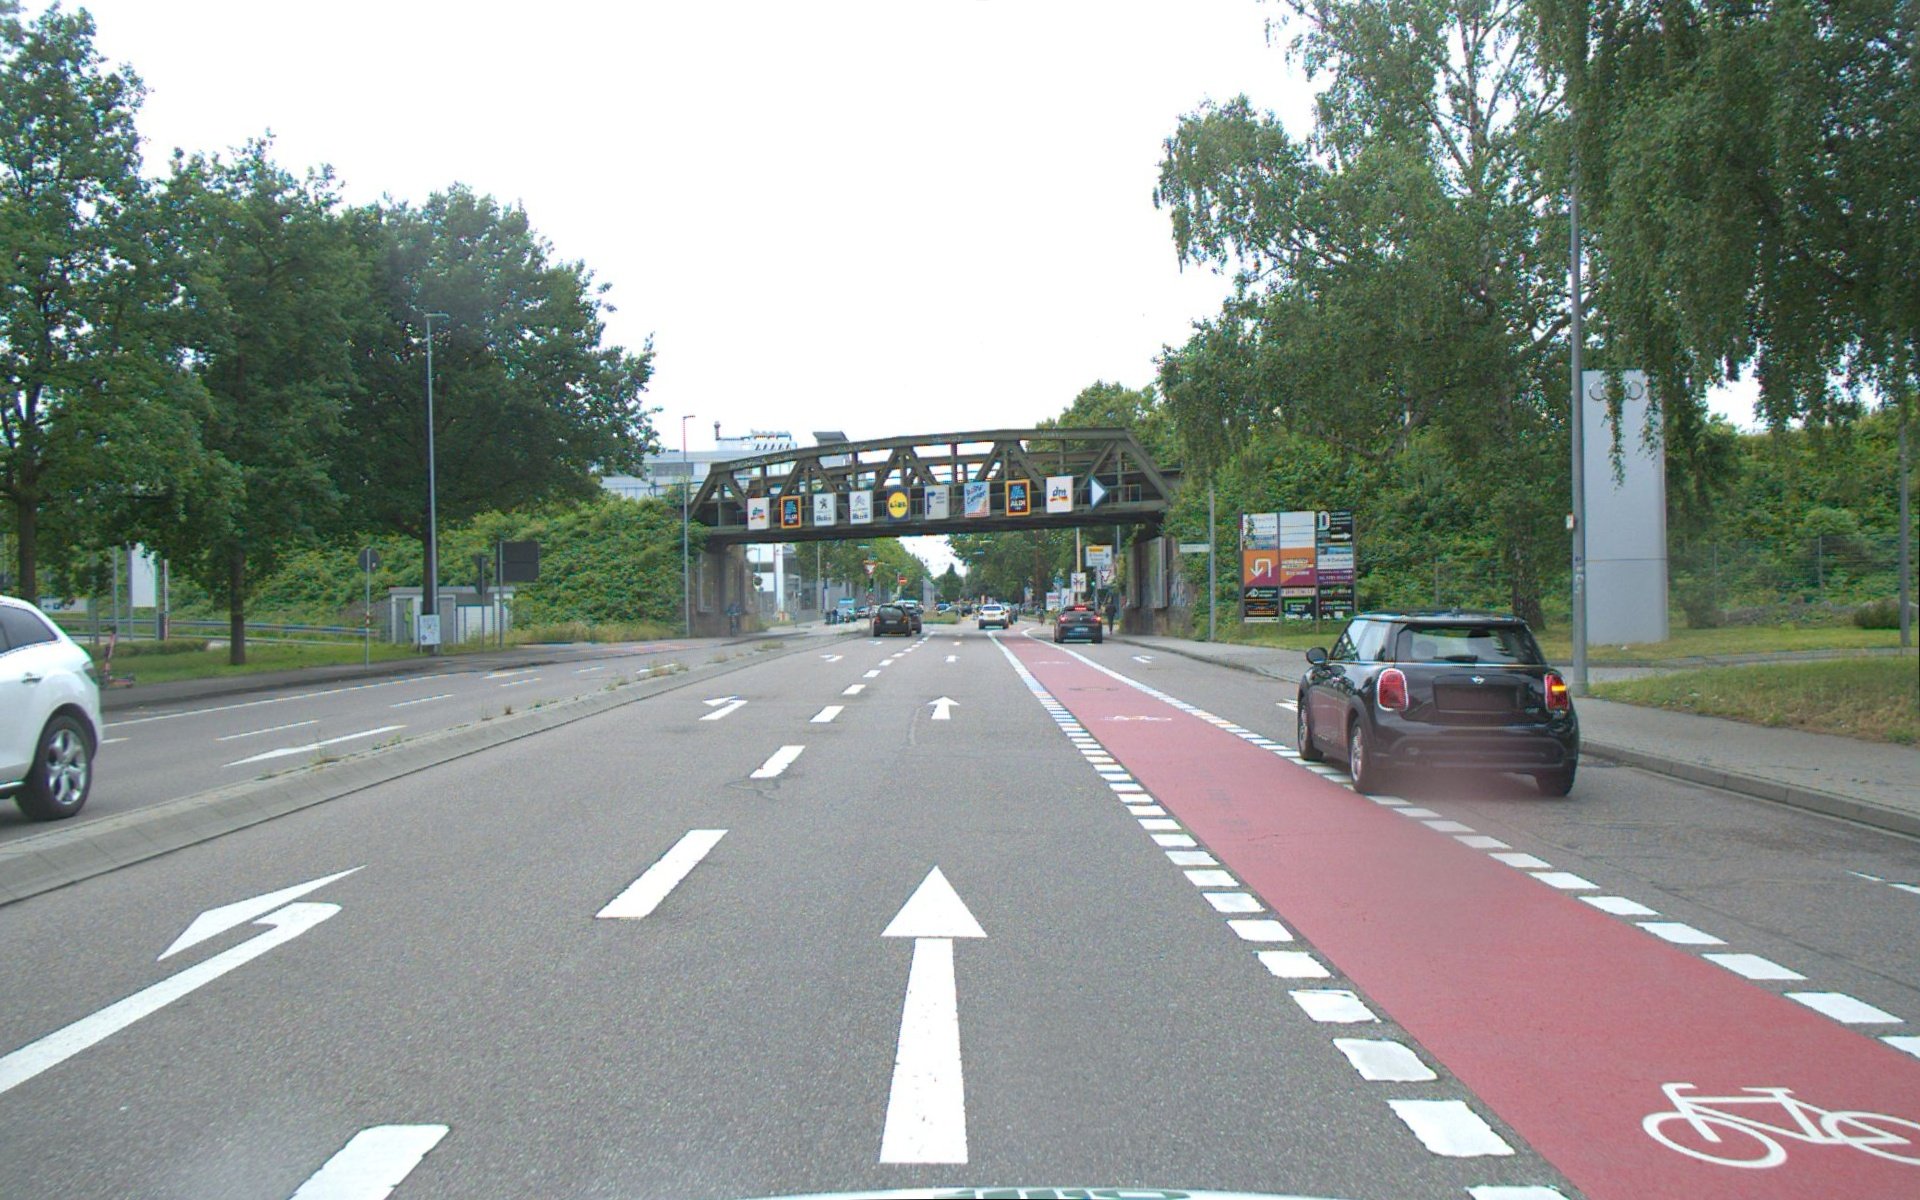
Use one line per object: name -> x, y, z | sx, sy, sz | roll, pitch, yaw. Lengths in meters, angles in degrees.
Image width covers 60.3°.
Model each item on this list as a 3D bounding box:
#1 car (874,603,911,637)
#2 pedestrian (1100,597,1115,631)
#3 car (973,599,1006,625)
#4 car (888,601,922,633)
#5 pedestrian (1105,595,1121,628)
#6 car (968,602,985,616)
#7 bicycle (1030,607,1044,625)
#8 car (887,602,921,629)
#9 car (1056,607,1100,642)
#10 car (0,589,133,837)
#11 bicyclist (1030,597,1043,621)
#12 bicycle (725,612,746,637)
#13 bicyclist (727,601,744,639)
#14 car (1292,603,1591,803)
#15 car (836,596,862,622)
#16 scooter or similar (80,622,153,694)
car -> -3.269, 0.933, 79.200 | 1.733, 1.554, 3.667 | 0, 0, -3
pedestrian -> 7.417, 0.691, 83.258 | 0.726, 1.669, 0.779 | -1, 0, 7
car -> 1.858, 0.740, 105.085 | 1.787, 1.628, 3.773 | 0, 0, -3
car -> -2.972, 0.888, 88.137 | 1.737, 1.681, 3.667 | 0, 0, -3
pedestrian -> 8.561, 0.648, 92.806 | 0.853, 1.790, 0.788 | -1, 0, 6
car -> 1.885, 0.982, 188.715 | 1.759, 1.540, 3.703 | 0, 0, -3
bicycle -> 5.368, 1.126, 115.991 | 0.800, 1.234, 2.683 | -2, 0, 0
car -> -3.431, 0.905, 99.854 | 1.923, 1.554, 5.007 | 0, 0, -4
car -> 4.520, 0.926, 63.484 | 1.613, 1.303, 3.421 | 0, 0, 3
car -> -7.159, 0.785, 10.243 | 1.781, 1.614, 4.512 | -3, 0, -1
bicyclist -> 5.353, 0.646, 115.991 | 0.800, 1.659, 1.235 | -2, -1, 0
bicycle -> -11.143, 1.230, 82.126 | 0.698, 1.207, 2.370 | 1, -1, 0
bicyclist -> -11.138, 0.992, 82.118 | 0.687, 1.907, 1.020 | 1, -1, 0
car -> 3.927, 0.760, 14.090 | 1.644, 1.456, 3.775 | 0, 0, 3
car -> -12.855, 1.065, 191.306 | 2.280, 2.875, 5.951 | -1, -1, 3
scooter or similar -> -16.344, 1.107, 32.085 | 0.437, 1.345, 1.506 | -1, 0, 9
